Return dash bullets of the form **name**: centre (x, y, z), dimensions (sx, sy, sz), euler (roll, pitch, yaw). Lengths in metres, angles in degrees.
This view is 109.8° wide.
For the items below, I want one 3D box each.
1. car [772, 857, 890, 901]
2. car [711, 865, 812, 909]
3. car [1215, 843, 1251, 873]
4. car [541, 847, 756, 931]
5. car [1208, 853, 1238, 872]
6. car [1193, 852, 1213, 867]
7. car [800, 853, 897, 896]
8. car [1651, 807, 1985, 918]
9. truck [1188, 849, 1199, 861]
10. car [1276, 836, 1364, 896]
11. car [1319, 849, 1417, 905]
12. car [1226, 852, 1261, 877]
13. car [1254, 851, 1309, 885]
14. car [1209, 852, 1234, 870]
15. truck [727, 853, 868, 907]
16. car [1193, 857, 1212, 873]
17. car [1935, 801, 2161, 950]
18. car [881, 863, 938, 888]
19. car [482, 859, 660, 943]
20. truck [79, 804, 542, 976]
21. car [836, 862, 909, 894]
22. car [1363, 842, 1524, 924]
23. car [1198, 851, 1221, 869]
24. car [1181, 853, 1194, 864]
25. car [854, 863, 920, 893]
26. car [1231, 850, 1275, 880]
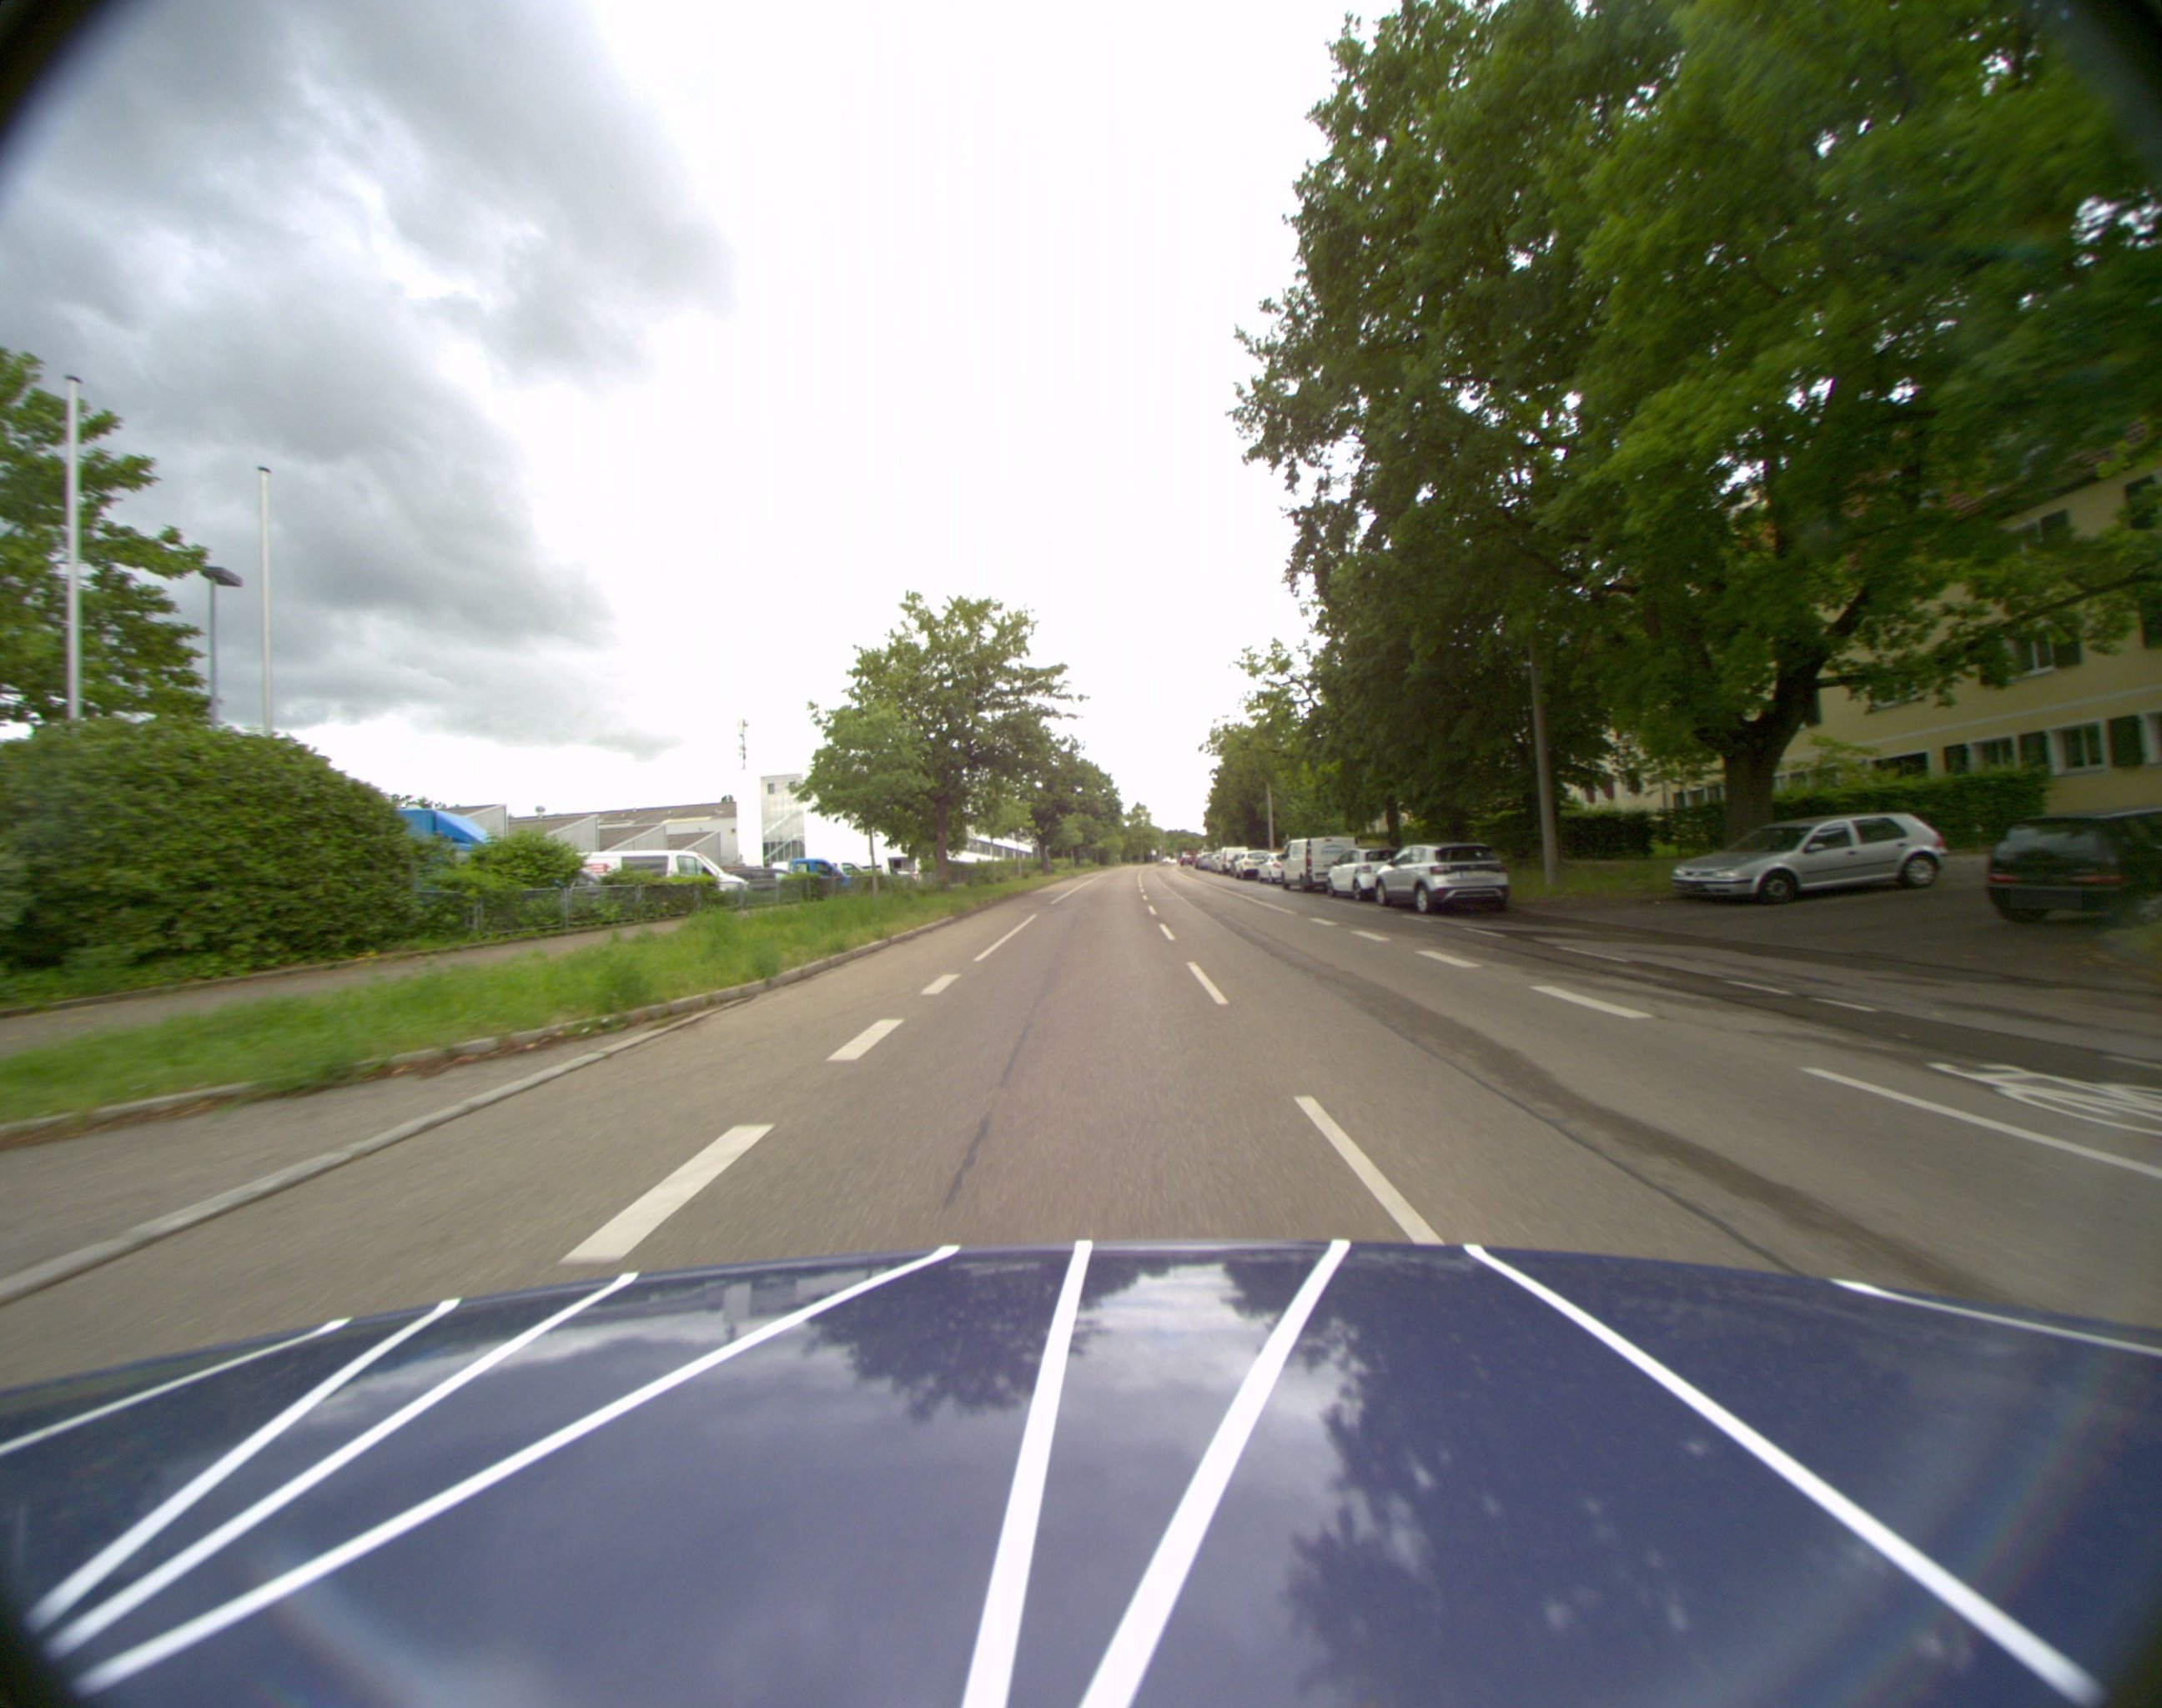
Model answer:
- **car**: centre (-13.507, 1.325, 41.260), dimensions (5.830, 1.945, 2.069), euler (-3, 0, -17)
- **car**: centre (-14.289, 1.447, 34.113), dimensions (4.004, 1.620, 1.997), euler (-3, 0, -23)
- **car**: centre (10.774, 0.318, 54.242), dimensions (1.772, 1.919, 5.157), euler (-3, -1, 4)
- **car**: centre (-14.725, 1.137, 26.391), dimensions (6.034, 2.353, 2.359), euler (-3, 0, -19)
- **car**: centre (11.259, 0.683, 60.302), dimensions (1.639, 1.424, 3.951), euler (-3, -1, 1)
- **car**: centre (12.340, 0.549, 77.020), dimensions (1.771, 1.439, 4.152), euler (-3, -1, 8)
- **car**: centre (-13.835, 1.198, 45.181), dimensions (5.266, 2.175, 2.068), euler (-3, 0, -20)
- **car**: centre (13.779, 0.146, 14.406), dimensions (4.443, 1.442, 1.869), euler (-7, 0, -1)
- **truck**: centre (34.341, 0.297, 232.049), dimensions (2.829, 3.460, 7.830), euler (-2, 0, 11)
- **car**: centre (8.791, 0.423, 28.400), dimensions (1.870, 1.952, 5.128), euler (-3, 0, 3)
- **car**: centre (8.528, 0.643, 22.894), dimensions (1.585, 1.473, 3.720), euler (-3, 0, 1)
- **car**: centre (10.230, 0.646, 48.021), dimensions (1.676, 1.479, 4.046), euler (-1, 0, 6)
- **car**: centre (9.678, 0.641, 36.992), dimensions (1.666, 1.470, 4.091), euler (-3, 0, 2)
- **car**: centre (12.059, 0.610, 65.254), dimensions (1.771, 1.486, 4.359), euler (-1, 0, 7)
- **truck**: centre (-13.977, 1.231, 37.617), dimensions (6.260, 2.199, 2.243), euler (-3, 0, -23)
- **car**: centre (13.103, 1.119, 81.964), dimensions (1.879, 1.561, 4.653), euler (-3, 0, 9)
- **car**: centre (13.803, 0.083, 9.185), dimensions (4.441, 1.446, 1.887), euler (-7, 0, 6)
- **car**: centre (-15.787, 1.961, 70.168), dimensions (4.584, 2.022, 2.067), euler (-3, 0, -35)
- **car**: centre (-14.903, 1.318, 22.508), dimensions (4.004, 2.063, 1.921), euler (-4, 0, -24)
- **truck**: centre (-17.566, 0.691, 18.055), dimensions (7.193, 3.456, 2.615), euler (-2, 0, -20)
- **car**: centre (-15.210, 1.717, 55.582), dimensions (4.584, 2.022, 2.067), euler (-3, 0, -35)
- **car**: centre (8.255, 0.599, 17.774), dimensions (1.771, 1.624, 4.158), euler (-3, 0, 1)
- **car**: centre (12.075, 0.581, 71.615), dimensions (1.772, 1.582, 4.136), euler (-3, 0, 5)
- **car**: centre (15.271, 0.621, 109.187), dimensions (1.640, 1.458, 4.003), euler (-2, 0, 11)
- **car**: centre (-15.655, 1.930, 61.451), dimensions (4.584, 2.022, 2.067), euler (-3, 0, -35)
- **car**: centre (9.636, 0.599, 42.784), dimensions (1.677, 1.555, 4.282), euler (-2, 0, 3)
